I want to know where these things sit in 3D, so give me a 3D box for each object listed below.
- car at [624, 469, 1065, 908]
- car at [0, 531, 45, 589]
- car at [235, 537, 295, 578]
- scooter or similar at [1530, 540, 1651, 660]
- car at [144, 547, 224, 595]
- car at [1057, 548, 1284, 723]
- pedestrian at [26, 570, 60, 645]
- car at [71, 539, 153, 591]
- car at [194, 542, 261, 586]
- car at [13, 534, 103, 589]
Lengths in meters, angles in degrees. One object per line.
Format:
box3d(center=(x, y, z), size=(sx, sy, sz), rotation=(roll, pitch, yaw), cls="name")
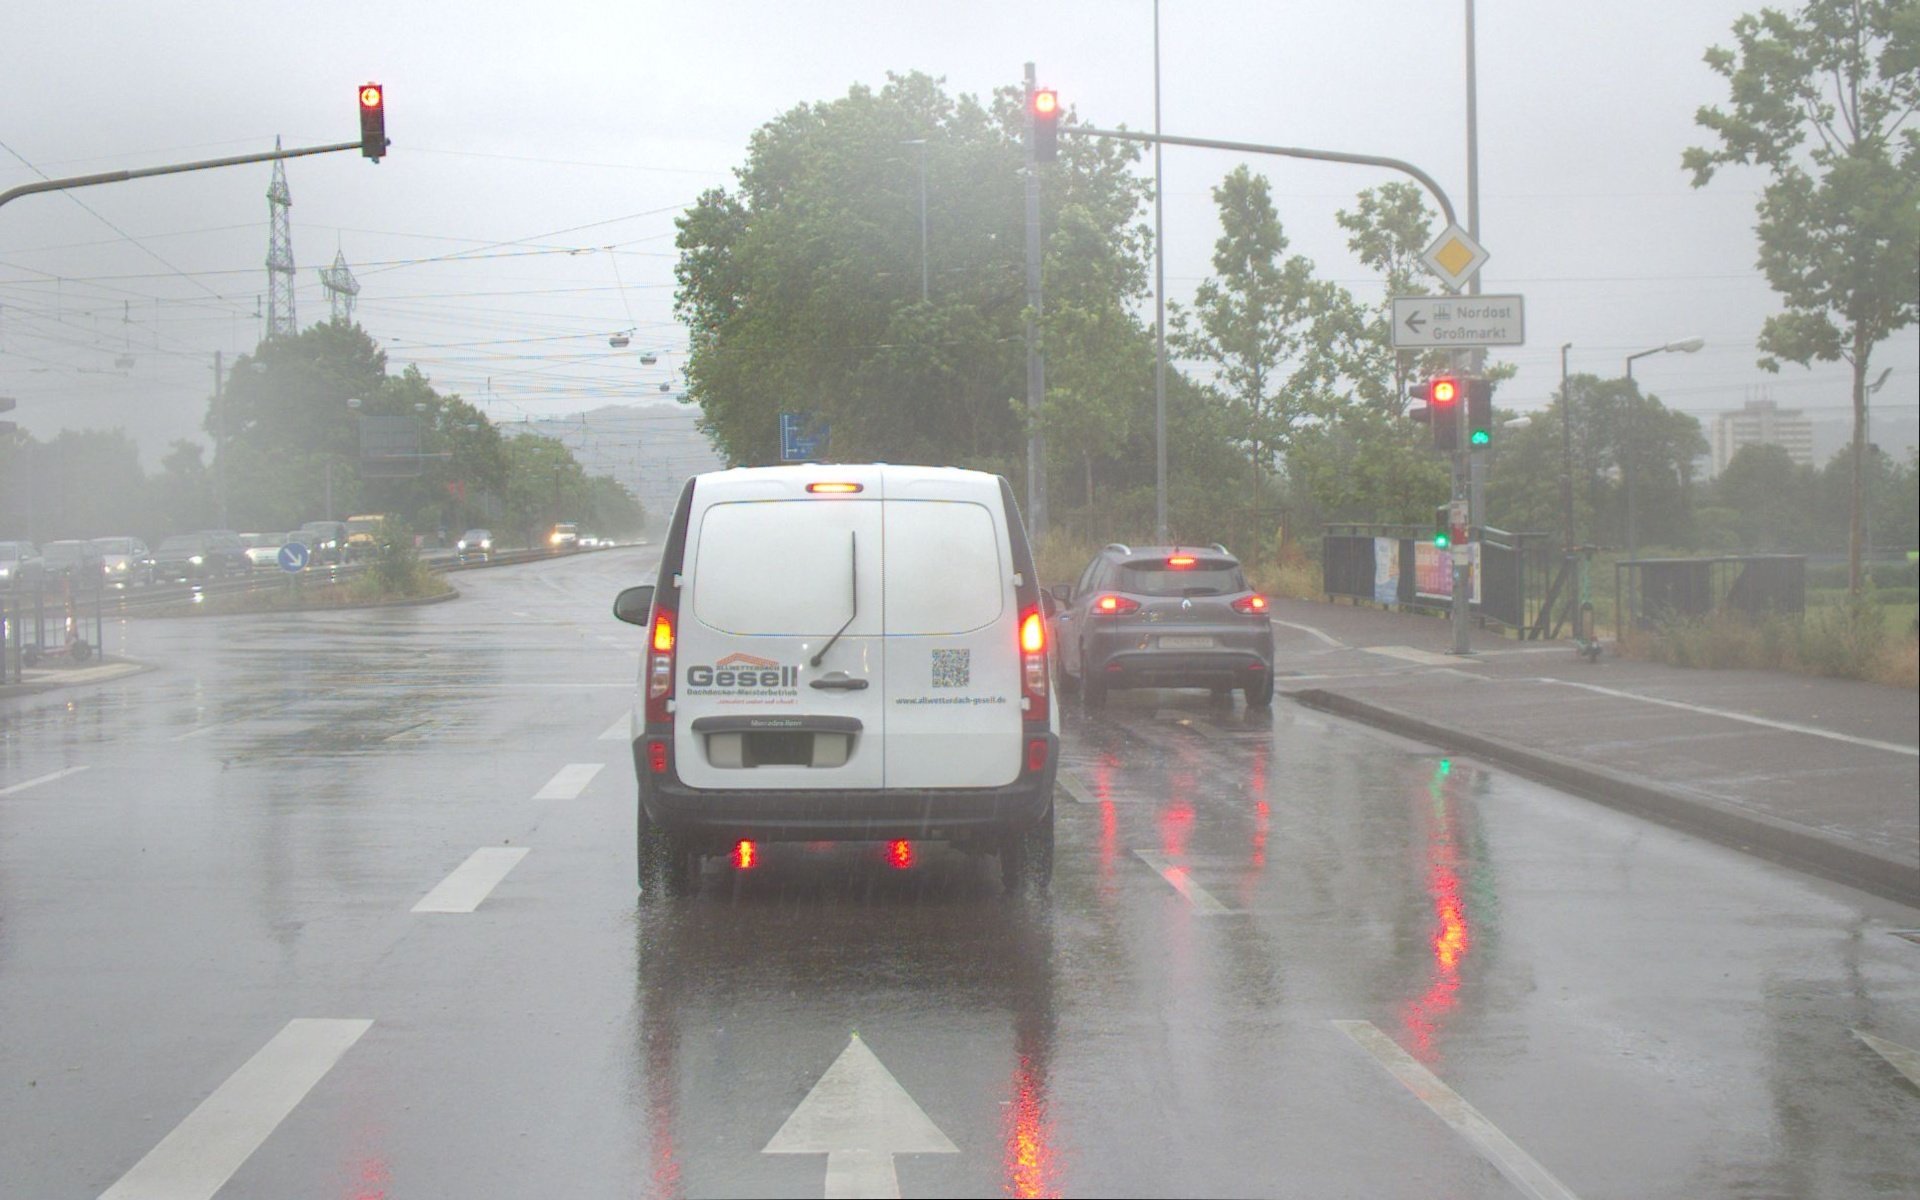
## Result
box3d(center=(-0.643, 0.296, 15.801), size=(1.754, 1.744, 4.170), rotation=(0, 2, -5), cls="car")
box3d(center=(-24.197, -1.008, 86.300), size=(1.559, 1.421, 3.569), rotation=(2, 0, -2), cls="car")
box3d(center=(-25.656, -1.560, 126.983), size=(1.559, 1.421, 3.569), rotation=(2, 0, -2), cls="car")
box3d(center=(6.644, -0.029, 36.384), size=(0.690, 1.207, 3.020), rotation=(-1, 1, 0), cls="scooter or similar")
box3d(center=(-24.177, -0.887, 107.190), size=(1.710, 1.421, 3.809), rotation=(2, 0, -2), cls="car")
box3d(center=(1.898, 0.285, 31.983), size=(1.684, 1.503, 3.921), rotation=(1, 1, -2), cls="car")
box3d(center=(-11.134, 0.092, 41.744), size=(0.315, 0.894, 0.380), rotation=(2, 1, -4), cls="pedestrian")
box3d(center=(-24.608, -0.992, 99.866), size=(1.559, 1.421, 3.569), rotation=(2, 0, -2), cls="car")
box3d(center=(-24.844, -1.212, 116.659), size=(1.559, 1.421, 3.569), rotation=(2, 0, -2), cls="car")
box3d(center=(-24.468, -1.029, 93.378), size=(1.559, 1.421, 3.569), rotation=(2, 0, -2), cls="car")
